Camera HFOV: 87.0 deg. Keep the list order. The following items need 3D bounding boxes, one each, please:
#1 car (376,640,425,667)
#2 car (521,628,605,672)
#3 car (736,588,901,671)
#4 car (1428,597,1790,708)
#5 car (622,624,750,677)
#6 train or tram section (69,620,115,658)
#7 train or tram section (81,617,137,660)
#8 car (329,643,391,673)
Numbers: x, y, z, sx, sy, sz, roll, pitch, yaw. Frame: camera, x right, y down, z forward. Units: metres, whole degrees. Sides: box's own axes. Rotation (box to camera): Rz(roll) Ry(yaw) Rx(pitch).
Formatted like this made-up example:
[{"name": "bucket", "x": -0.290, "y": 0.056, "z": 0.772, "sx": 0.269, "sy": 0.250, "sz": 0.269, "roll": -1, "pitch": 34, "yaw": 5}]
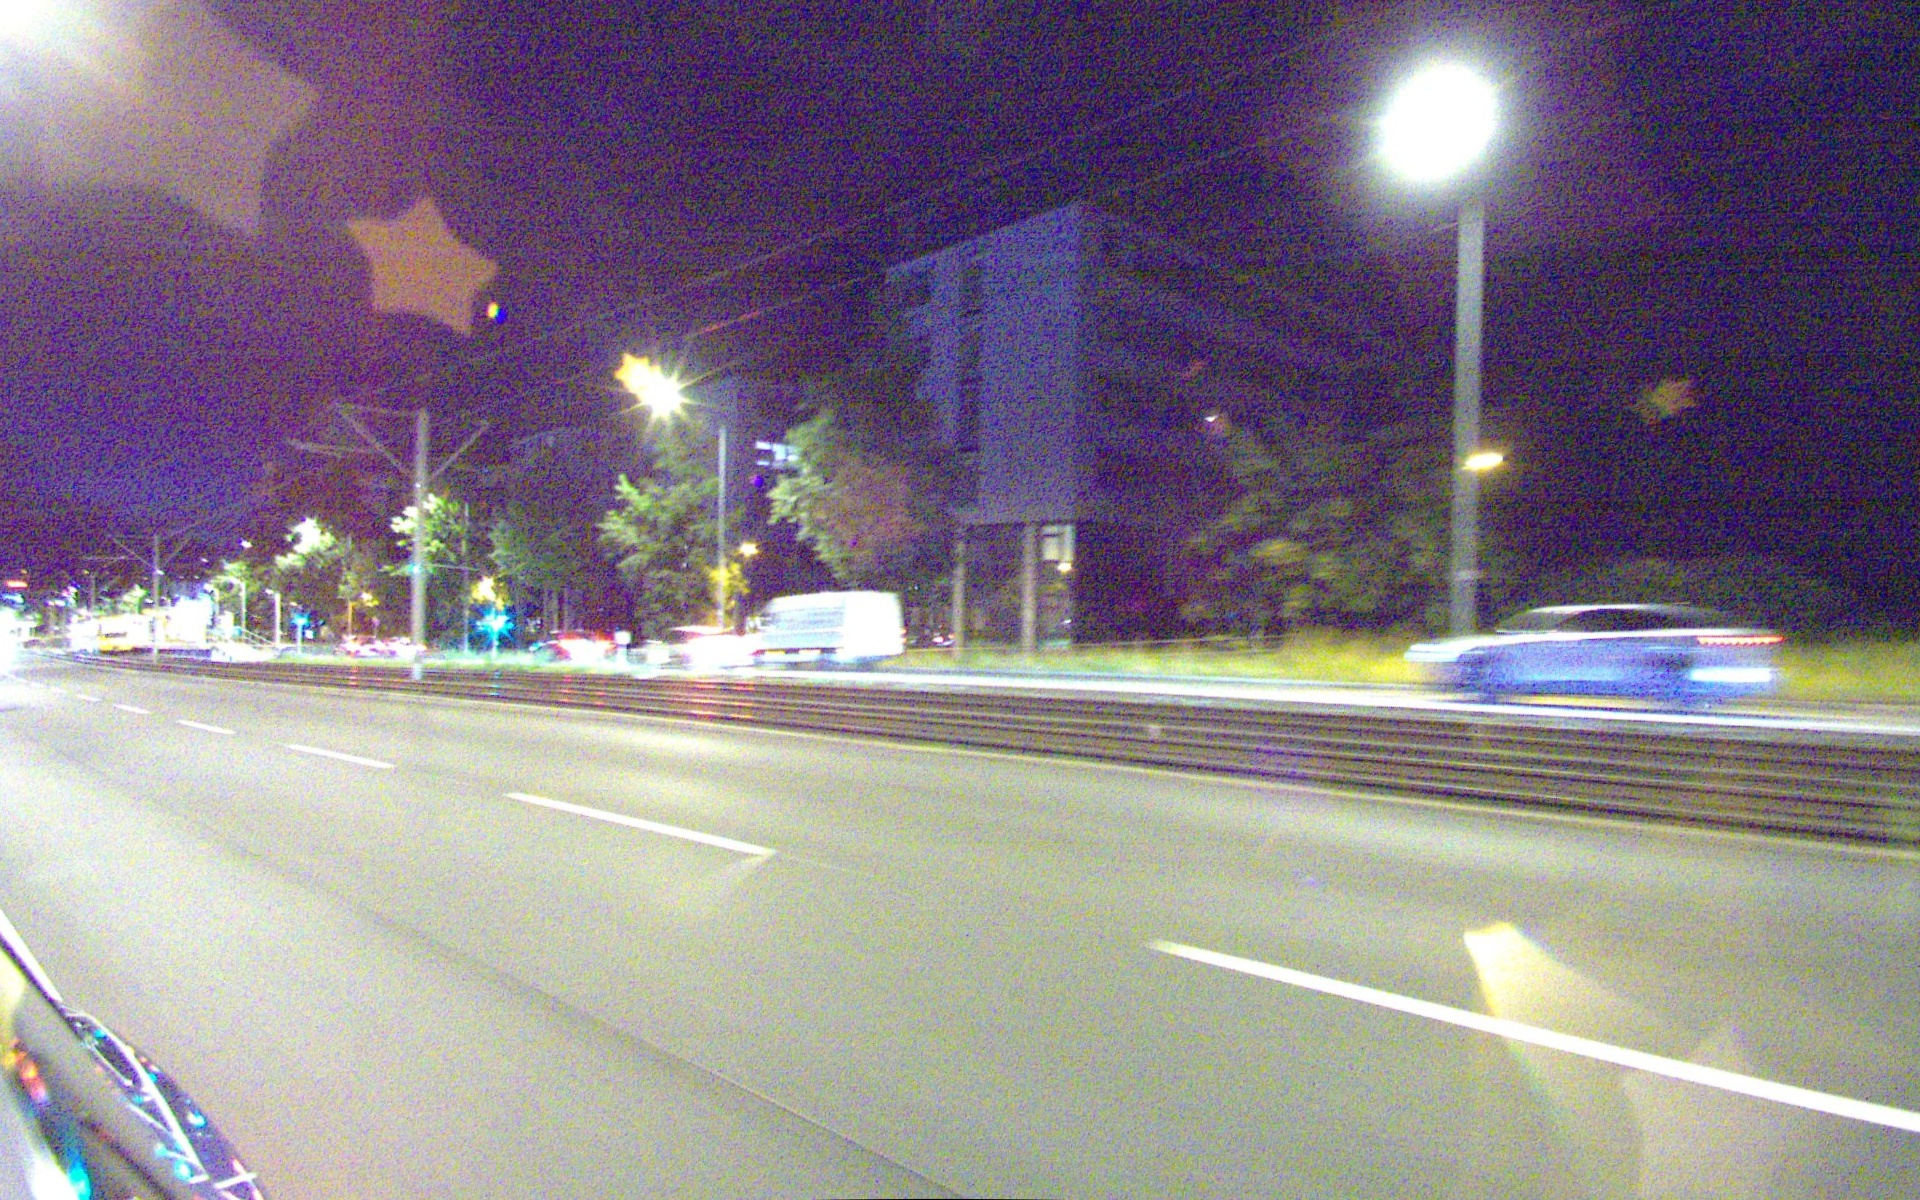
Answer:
[{"name": "car", "x": -34.040, "y": 3.221, "z": 61.499, "sx": 1.641, "sy": 1.528, "sz": 3.913, "roll": 0, "pitch": -1, "yaw": -44}, {"name": "car", "x": -17.103, "y": 2.110, "z": 43.491, "sx": 4.228, "sy": 1.726, "sz": 1.759, "roll": -2, "pitch": -1, "yaw": 44}, {"name": "car", "x": -5.187, "y": 1.076, "z": 36.118, "sx": 2.120, "sy": 2.691, "sz": 6.968, "roll": 4, "pitch": -4, "yaw": -44}, {"name": "car", "x": 10.222, "y": 0.805, "z": 16.209, "sx": 4.614, "sy": 1.526, "sz": 1.841, "roll": -2, "pitch": -3, "yaw": 43}, {"name": "car", "x": -8.169, "y": 1.461, "z": 29.972, "sx": 4.338, "sy": 1.451, "sz": 1.602, "roll": -2, "pitch": -3, "yaw": 43}, {"name": "train or tram section", "x": -96.885, "y": 4.391, "z": 112.811, "sx": 2.706, "sy": 3.875, "sz": 19.376, "roll": 0, "pitch": -2, "yaw": -44}, {"name": "train or tram section", "x": -83.594, "y": 3.803, "z": 99.232, "sx": 2.727, "sy": 3.856, "sz": 18.681, "roll": 0, "pitch": -2, "yaw": -45}, {"name": "car", "x": -33.505, "y": 3.209, "z": 56.473, "sx": 4.172, "sy": 1.508, "sz": 1.766, "roll": -1, "pitch": 0, "yaw": 41}]
